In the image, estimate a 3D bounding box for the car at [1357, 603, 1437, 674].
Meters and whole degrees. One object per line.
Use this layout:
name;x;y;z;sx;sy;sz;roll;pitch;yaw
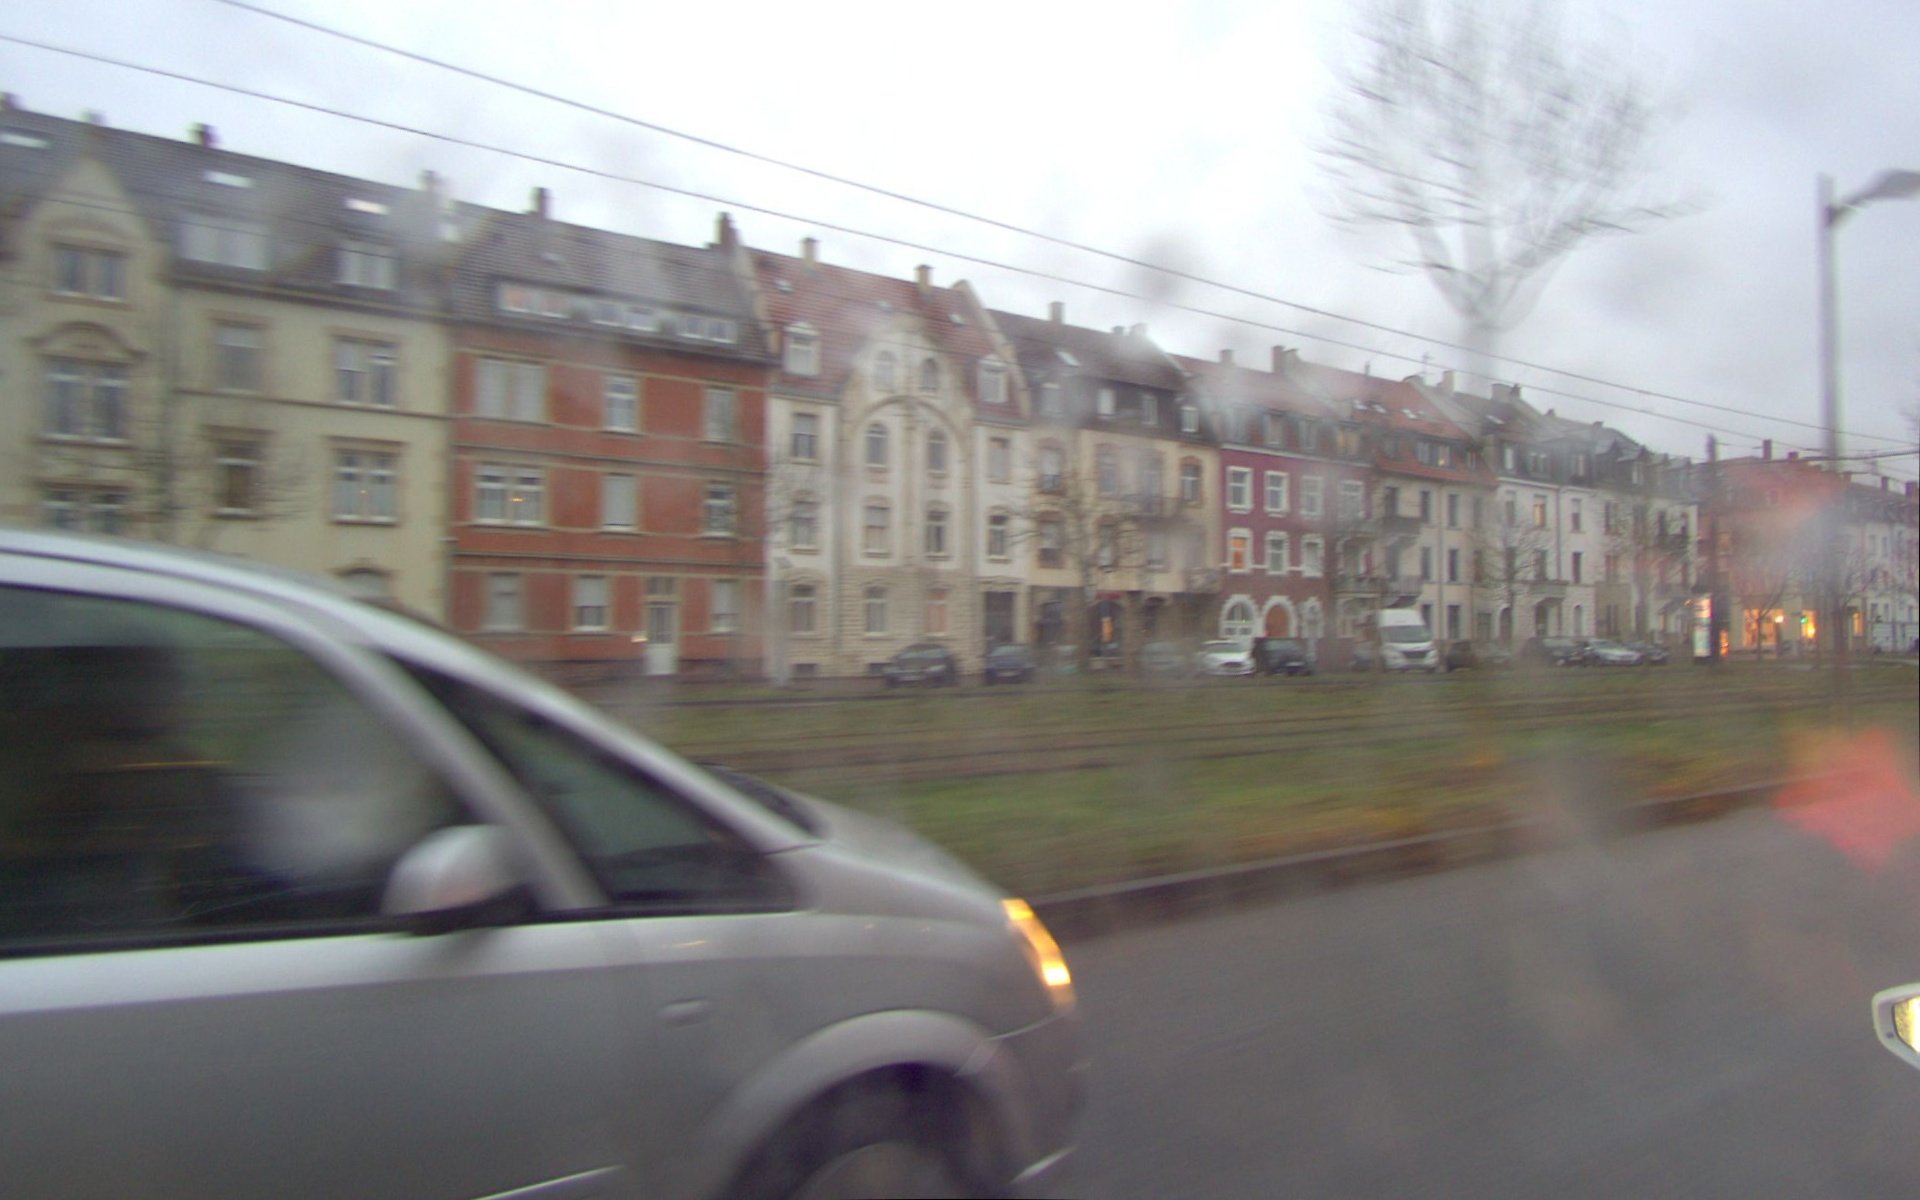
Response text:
car;18.776;1.688;43.413;1.959;2.834;5.872;-1;-3;12

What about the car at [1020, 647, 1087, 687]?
car;3.085;2.135;32.610;1.959;1.184;4.003;-1;-3;8

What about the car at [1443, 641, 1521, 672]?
car;24.076;2.602;46.487;1.959;1.349;4.003;-1;-3;8

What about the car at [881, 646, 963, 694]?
car;-1.078;2.072;30.564;1.959;1.349;4.003;0;-3;6

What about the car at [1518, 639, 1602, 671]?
car;29.597;2.694;49.719;1.960;1.505;4.003;0;-3;4

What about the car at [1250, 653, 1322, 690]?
car;12.742;2.786;39.490;1.959;1.349;4.003;-1;-3;8

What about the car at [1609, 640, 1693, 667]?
car;35.766;2.757;52.093;1.959;1.349;4.003;-1;-3;8

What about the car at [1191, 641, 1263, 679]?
car;10.001;2.242;37.934;1.960;1.349;4.003;0;-3;5

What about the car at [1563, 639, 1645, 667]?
car;32.498;2.670;50.803;1.959;1.349;4.003;-1;-3;8

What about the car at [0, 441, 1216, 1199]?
car;-1.576;0.629;2.031;4.008;1.621;1.800;1;-1;-32

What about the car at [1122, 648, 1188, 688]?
car;7.007;2.420;36.444;1.960;1.349;4.003;0;-3;6
